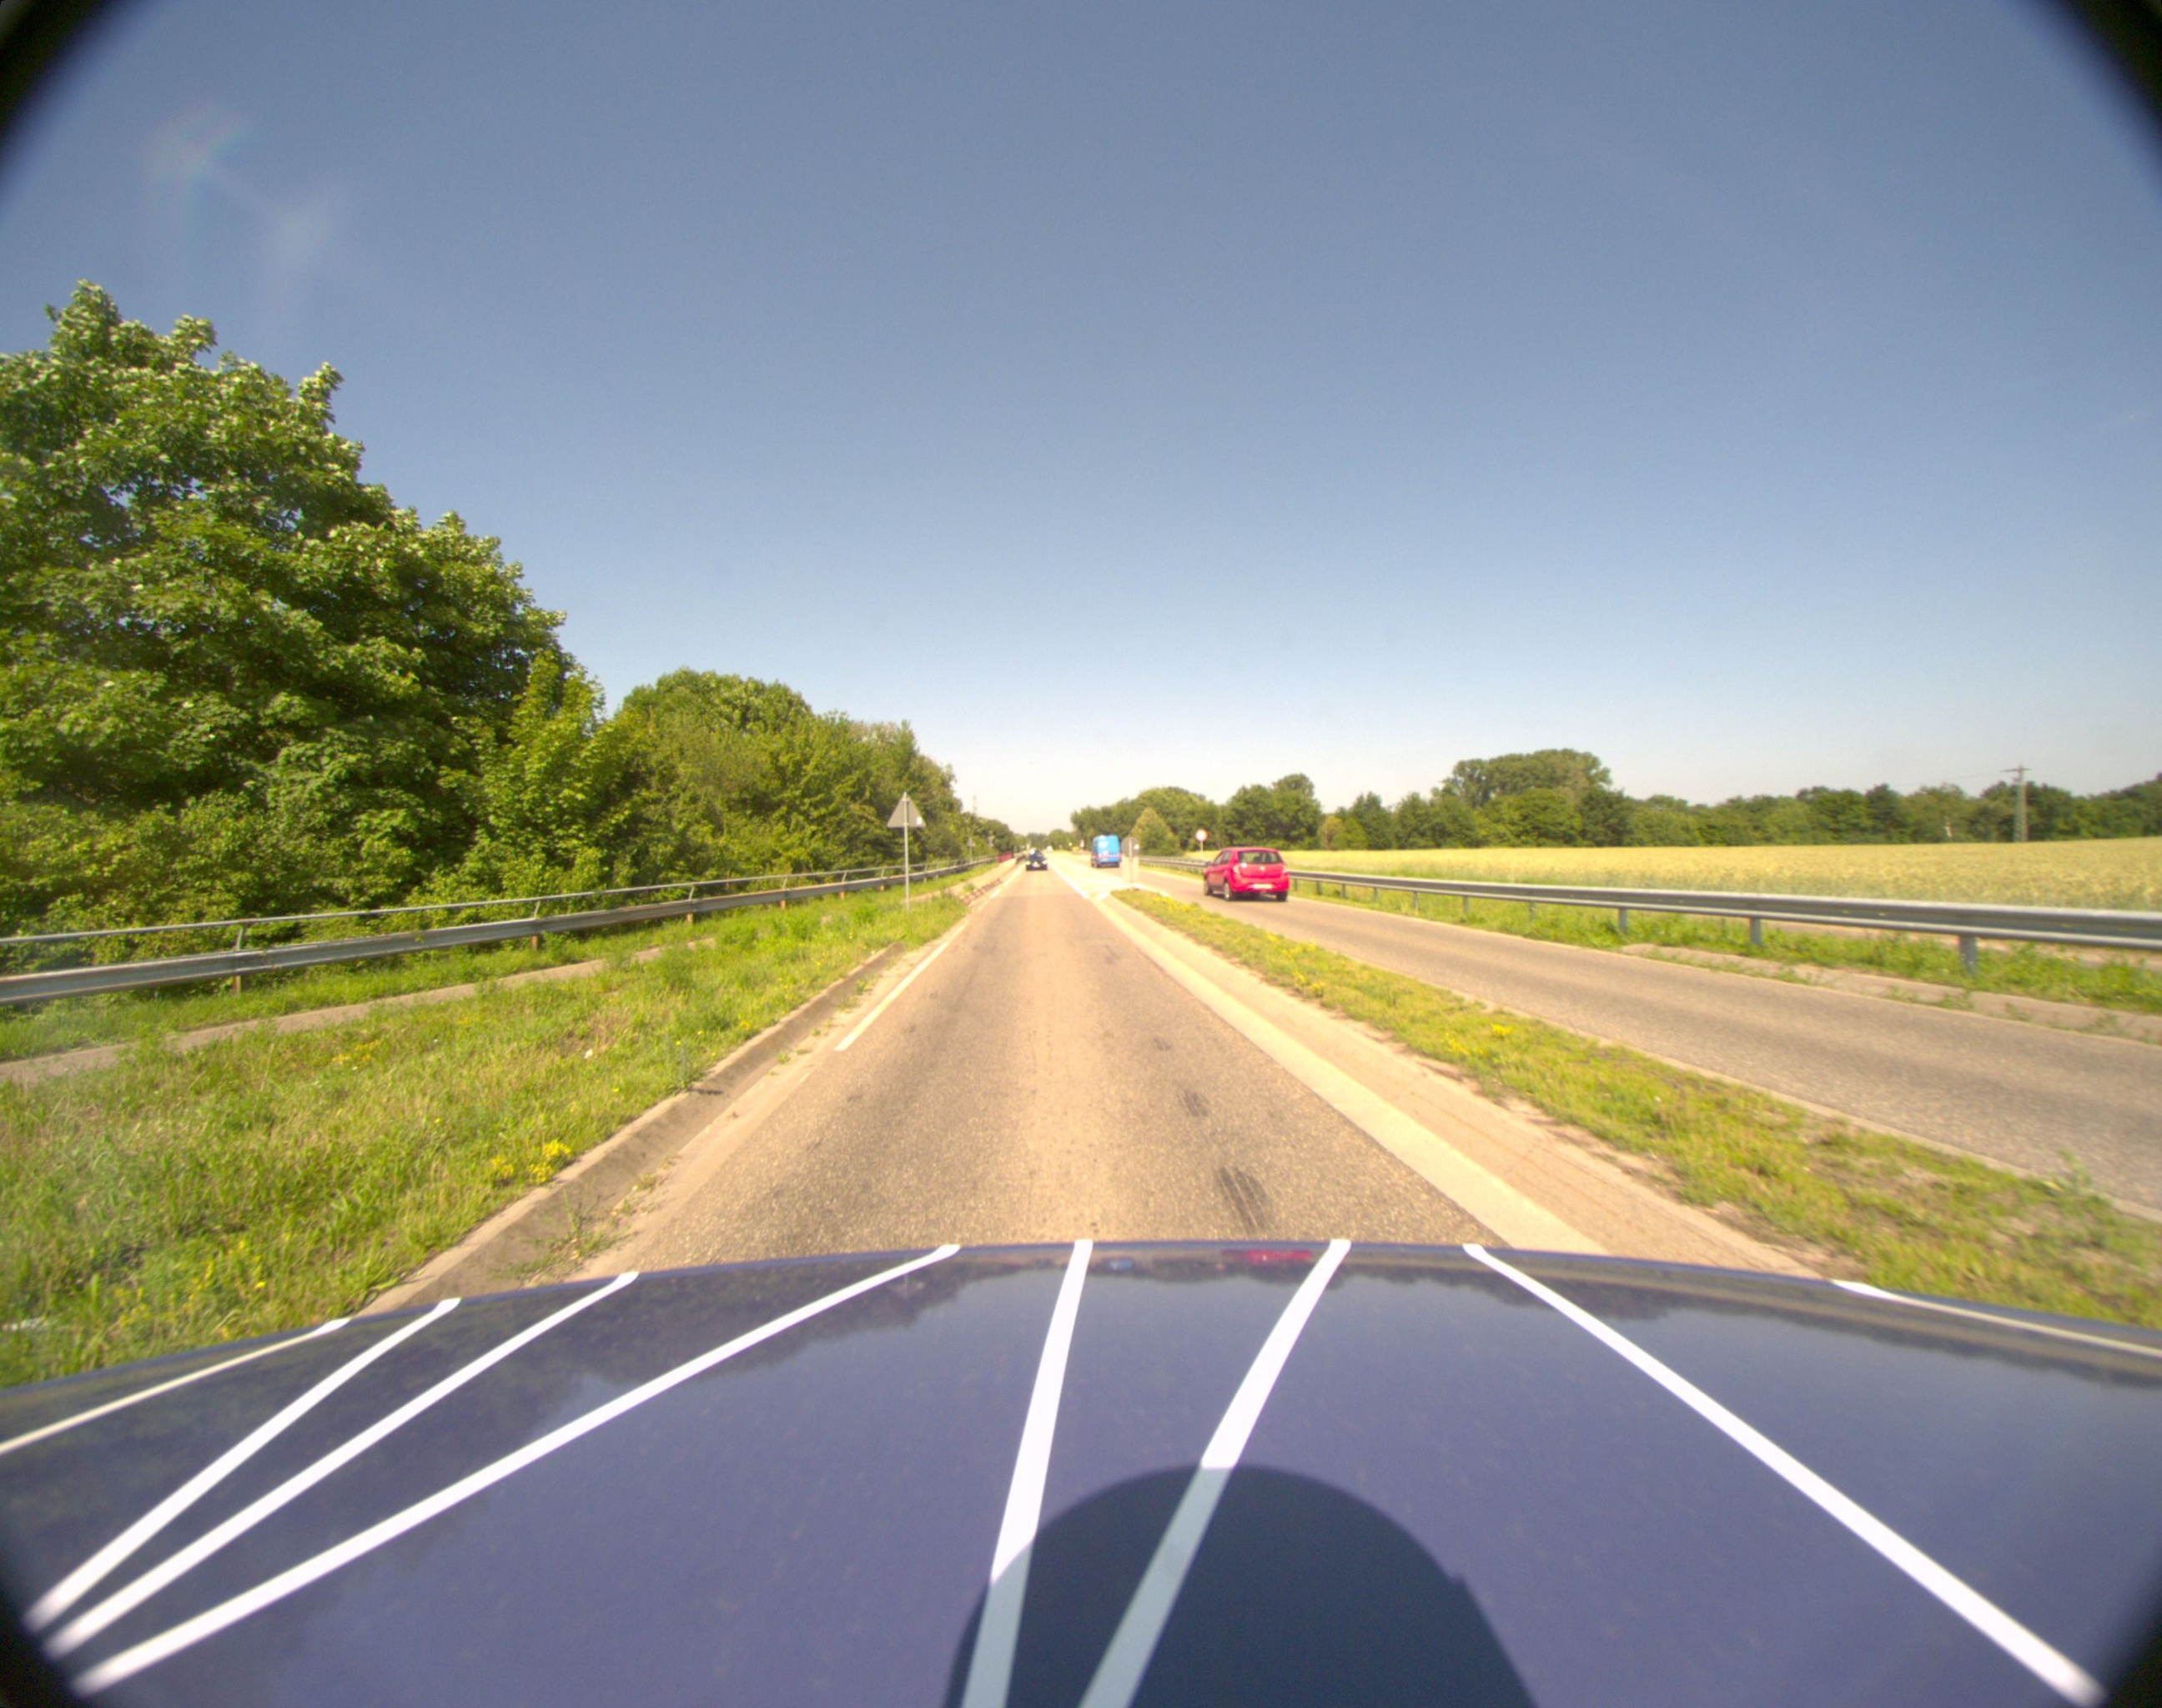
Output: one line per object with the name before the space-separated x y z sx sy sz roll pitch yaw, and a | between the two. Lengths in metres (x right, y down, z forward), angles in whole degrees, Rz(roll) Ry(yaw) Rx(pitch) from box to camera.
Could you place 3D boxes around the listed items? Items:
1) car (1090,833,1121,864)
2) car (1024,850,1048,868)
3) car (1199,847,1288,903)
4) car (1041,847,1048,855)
car | 2.034 -0.487 65.720 1.999 2.596 7.287 0 1 -3
car | -3.751 0.406 63.838 1.807 1.390 4.178 -2 1 -2
car | 4.696 0.554 22.421 1.632 1.482 3.801 0 1 -3
car | -7.594 -0.555 158.305 1.461 1.638 3.535 -2 1 -3
